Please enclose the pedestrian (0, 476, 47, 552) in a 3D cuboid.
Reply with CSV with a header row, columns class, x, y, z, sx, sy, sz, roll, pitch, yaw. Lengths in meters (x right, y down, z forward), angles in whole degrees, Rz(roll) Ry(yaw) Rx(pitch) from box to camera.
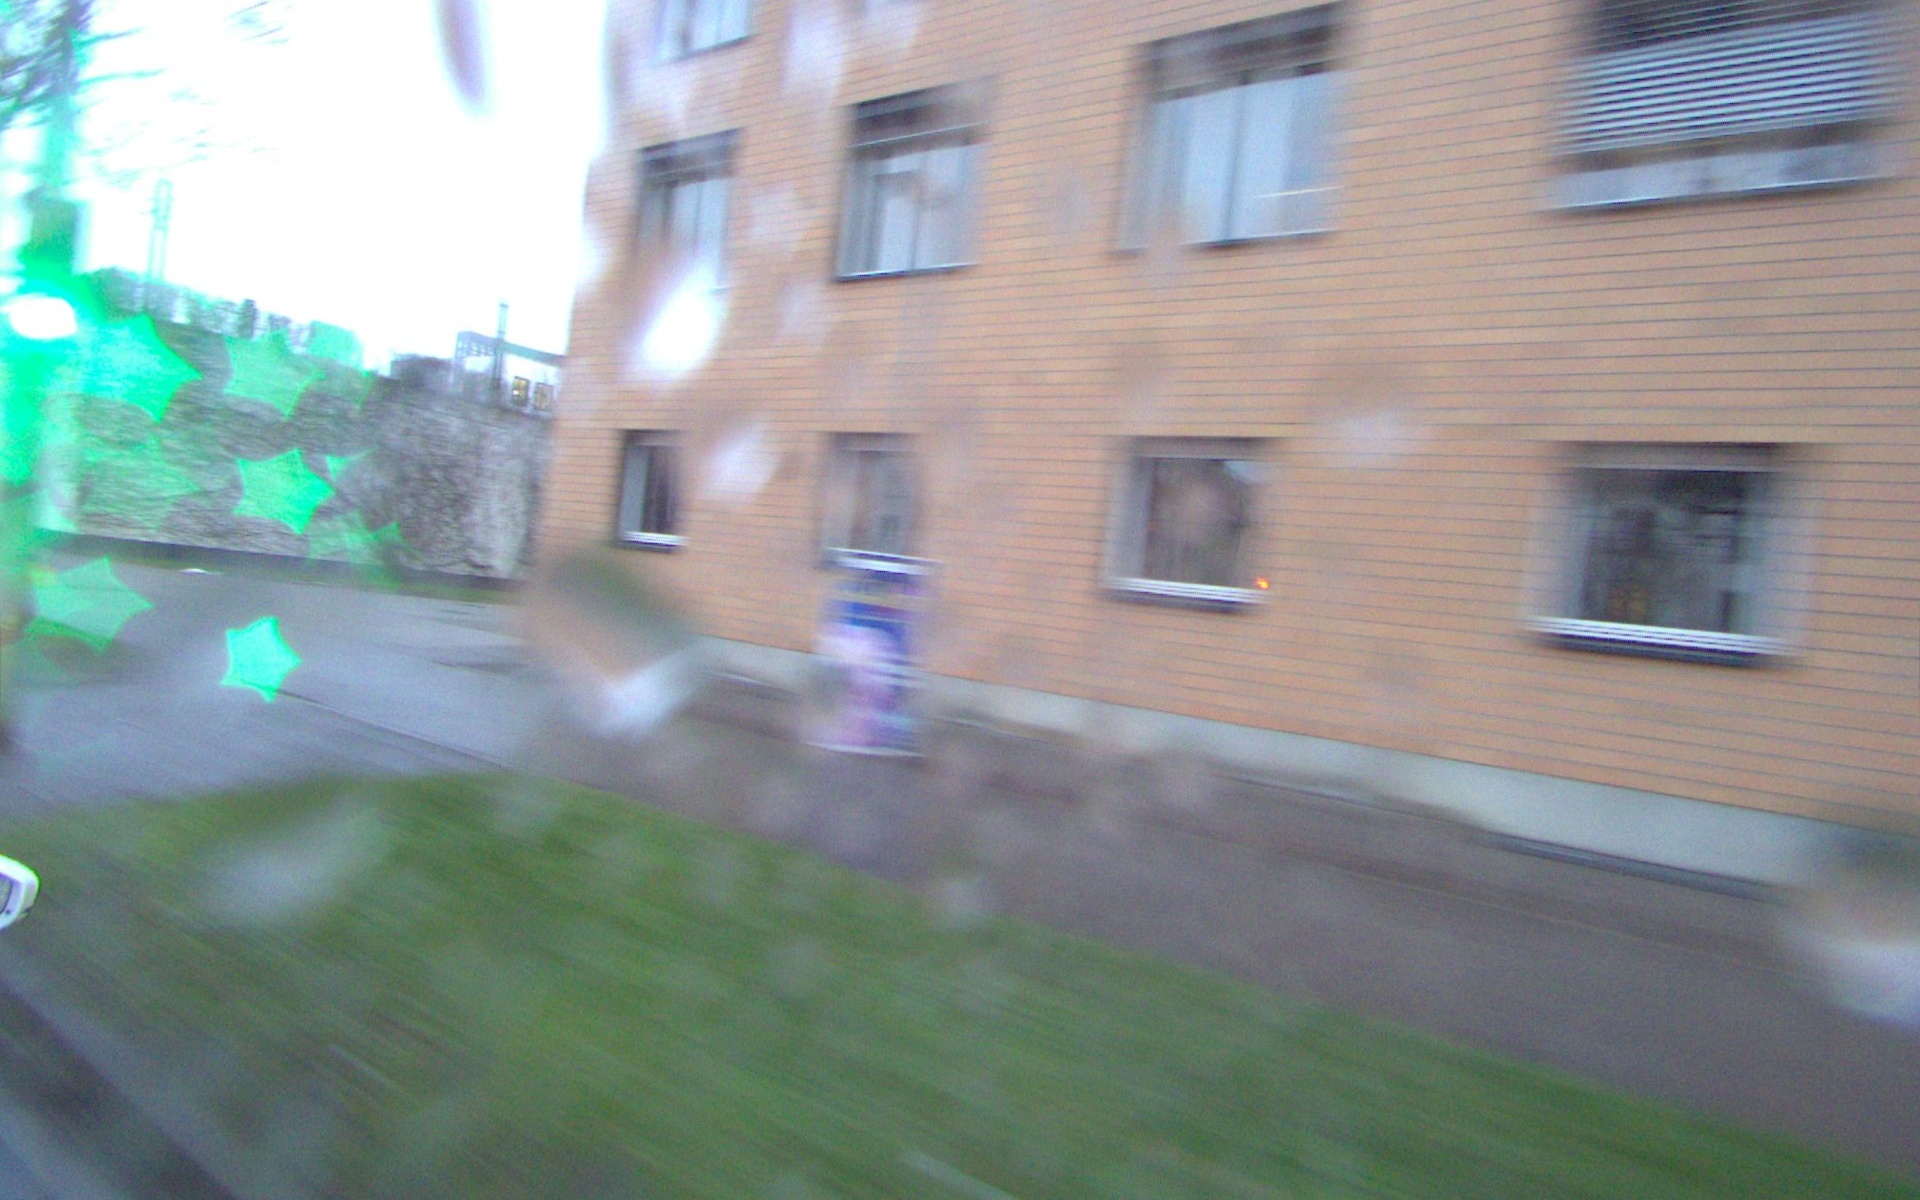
class,x,y,z,sx,sy,sz,roll,pitch,yaw
pedestrian,-21.697,-1.982,23.126,1.048,1.631,0.622,7,1,28
